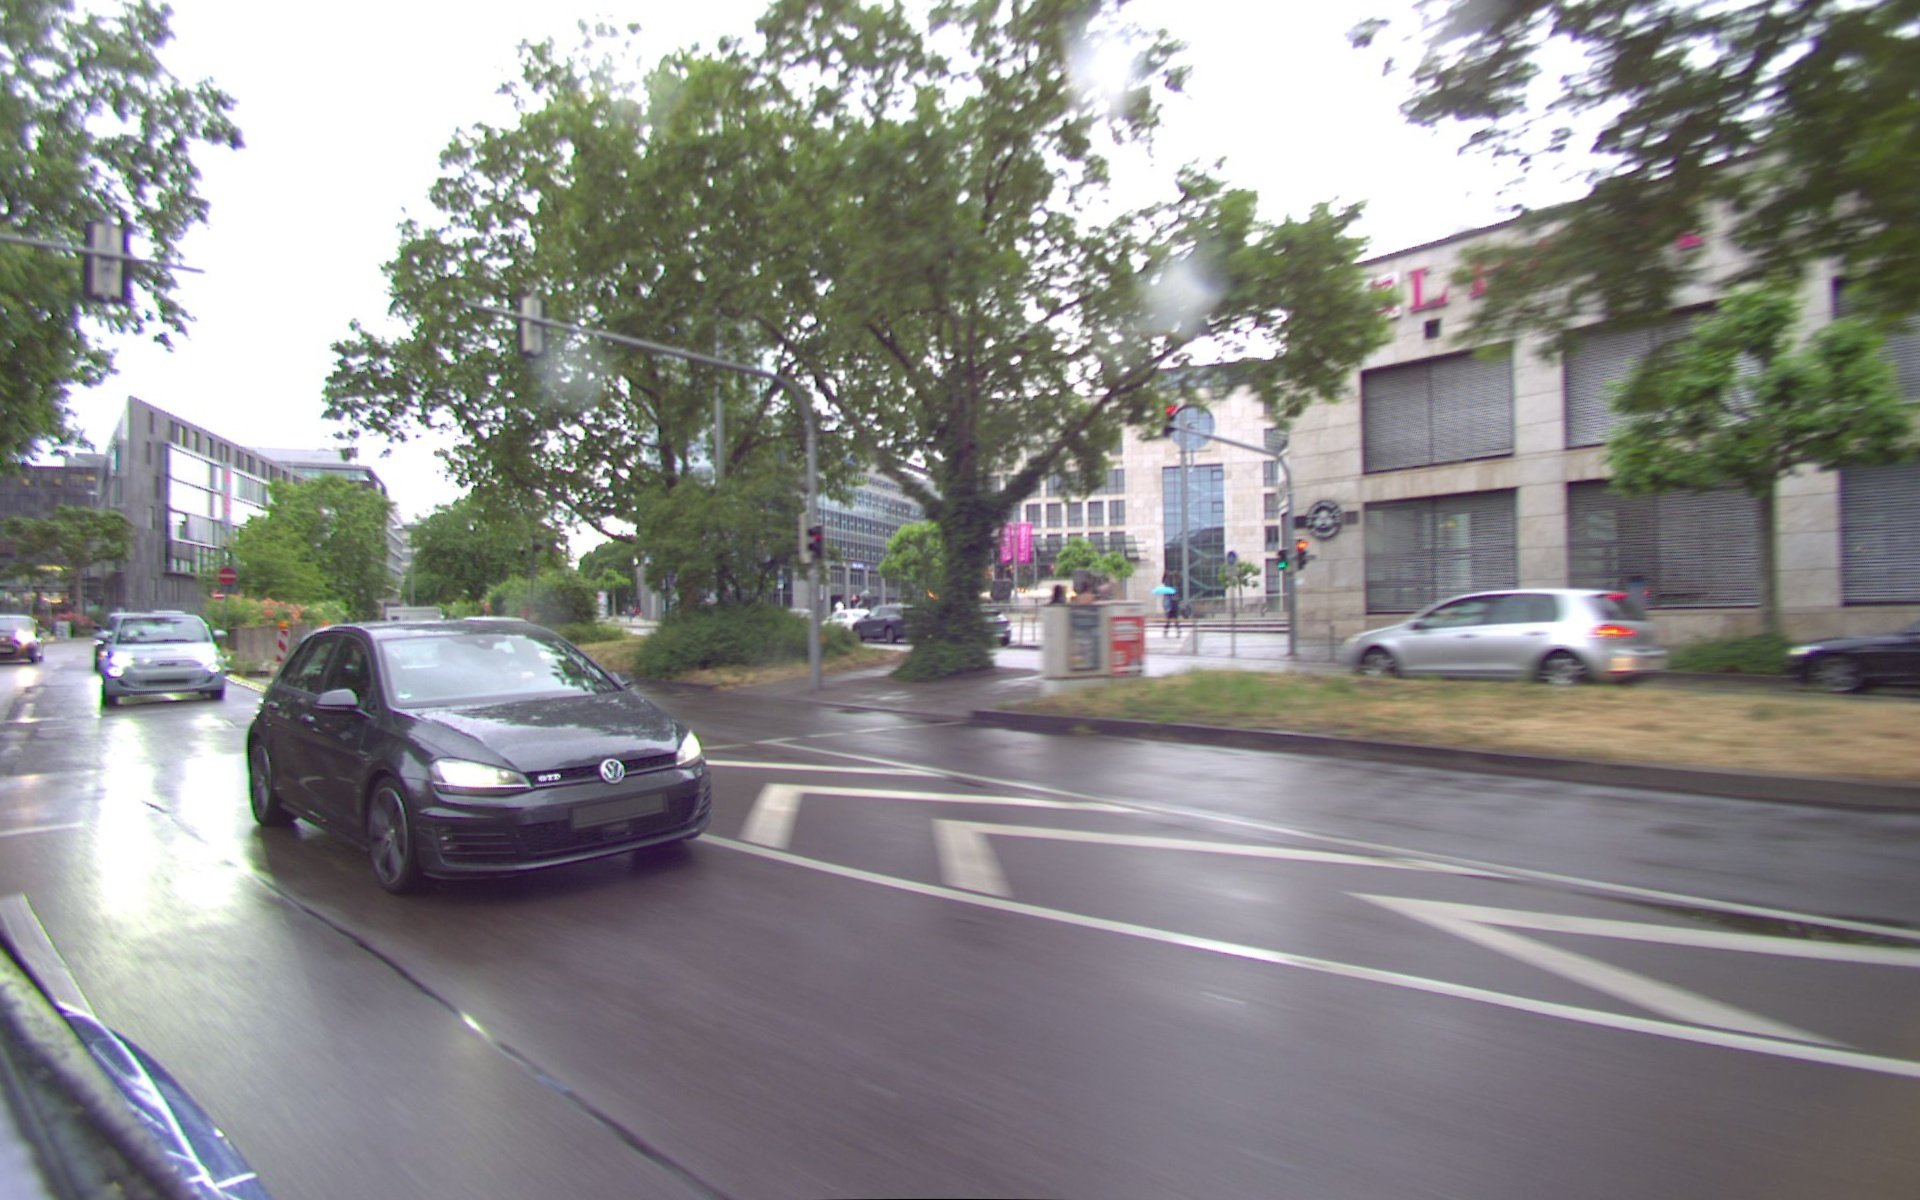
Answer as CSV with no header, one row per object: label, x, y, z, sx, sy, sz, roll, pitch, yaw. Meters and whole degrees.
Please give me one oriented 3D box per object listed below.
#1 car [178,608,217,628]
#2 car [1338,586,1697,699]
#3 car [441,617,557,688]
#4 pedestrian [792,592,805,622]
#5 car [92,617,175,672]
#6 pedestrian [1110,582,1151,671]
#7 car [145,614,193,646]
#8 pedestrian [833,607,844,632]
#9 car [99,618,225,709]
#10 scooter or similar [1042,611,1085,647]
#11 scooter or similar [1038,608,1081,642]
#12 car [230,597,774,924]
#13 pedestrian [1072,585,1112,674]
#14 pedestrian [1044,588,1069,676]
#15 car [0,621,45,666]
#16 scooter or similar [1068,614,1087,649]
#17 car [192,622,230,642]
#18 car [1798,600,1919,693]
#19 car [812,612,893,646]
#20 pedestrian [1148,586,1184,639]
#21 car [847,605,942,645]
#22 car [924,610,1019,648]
car,-67.490,1.600,89.635,1.965,1.757,3.922,-1,-1,-25
car,7.730,0.523,14.397,1.724,1.375,4.140,0,0,-37
car,-11.838,1.264,25.859,1.754,1.608,4.008,0,0,-39
pedestrian,-9.894,0.451,61.985,0.737,1.803,0.424,-2,0,-11
car,-23.398,1.229,28.751,1.690,1.452,3.501,1,-2,-38
pedestrian,3.192,0.493,18.933,0.636,1.626,0.607,-2,-1,17
car,-45.990,1.734,58.799,1.969,1.757,3.915,0,-1,-41
pedestrian,-8.221,1.323,68.336,0.573,1.639,0.560,0,0,15
car,-14.316,1.064,18.093,1.588,1.452,3.499,2,-2,-41
scooter or similar,3.725,1.025,36.354,1.405,1.195,0.583,-2,0,-29
scooter or similar,3.681,0.920,37.368,1.405,1.195,0.583,-2,0,-20
car,-3.200,0.757,6.627,4.122,1.463,1.765,-1,0,42
pedestrian,2.455,0.542,18.860,0.636,1.626,0.445,-2,-1,17
pedestrian,1.825,0.595,19.119,0.420,1.626,0.553,-2,-1,7
car,-29.050,1.291,30.752,1.690,1.291,3.500,1,-1,-40
scooter or similar,4.103,1.079,35.273,0.438,1.134,1.606,-2,0,12
car,-71.068,3.039,96.067,1.965,1.757,3.922,-1,-1,-21
car,15.347,0.688,15.040,1.724,1.375,4.183,0,0,-37
car,-5.246,1.346,48.910,1.980,1.545,4.447,0,0,-35
pedestrian,7.689,0.454,37.729,0.581,1.938,1.126,-2,0,-43
car,-2.927,1.049,44.206,1.967,1.664,4.738,0,0,-36
car,0.415,1.123,40.217,1.817,1.392,4.053,0,0,-34
